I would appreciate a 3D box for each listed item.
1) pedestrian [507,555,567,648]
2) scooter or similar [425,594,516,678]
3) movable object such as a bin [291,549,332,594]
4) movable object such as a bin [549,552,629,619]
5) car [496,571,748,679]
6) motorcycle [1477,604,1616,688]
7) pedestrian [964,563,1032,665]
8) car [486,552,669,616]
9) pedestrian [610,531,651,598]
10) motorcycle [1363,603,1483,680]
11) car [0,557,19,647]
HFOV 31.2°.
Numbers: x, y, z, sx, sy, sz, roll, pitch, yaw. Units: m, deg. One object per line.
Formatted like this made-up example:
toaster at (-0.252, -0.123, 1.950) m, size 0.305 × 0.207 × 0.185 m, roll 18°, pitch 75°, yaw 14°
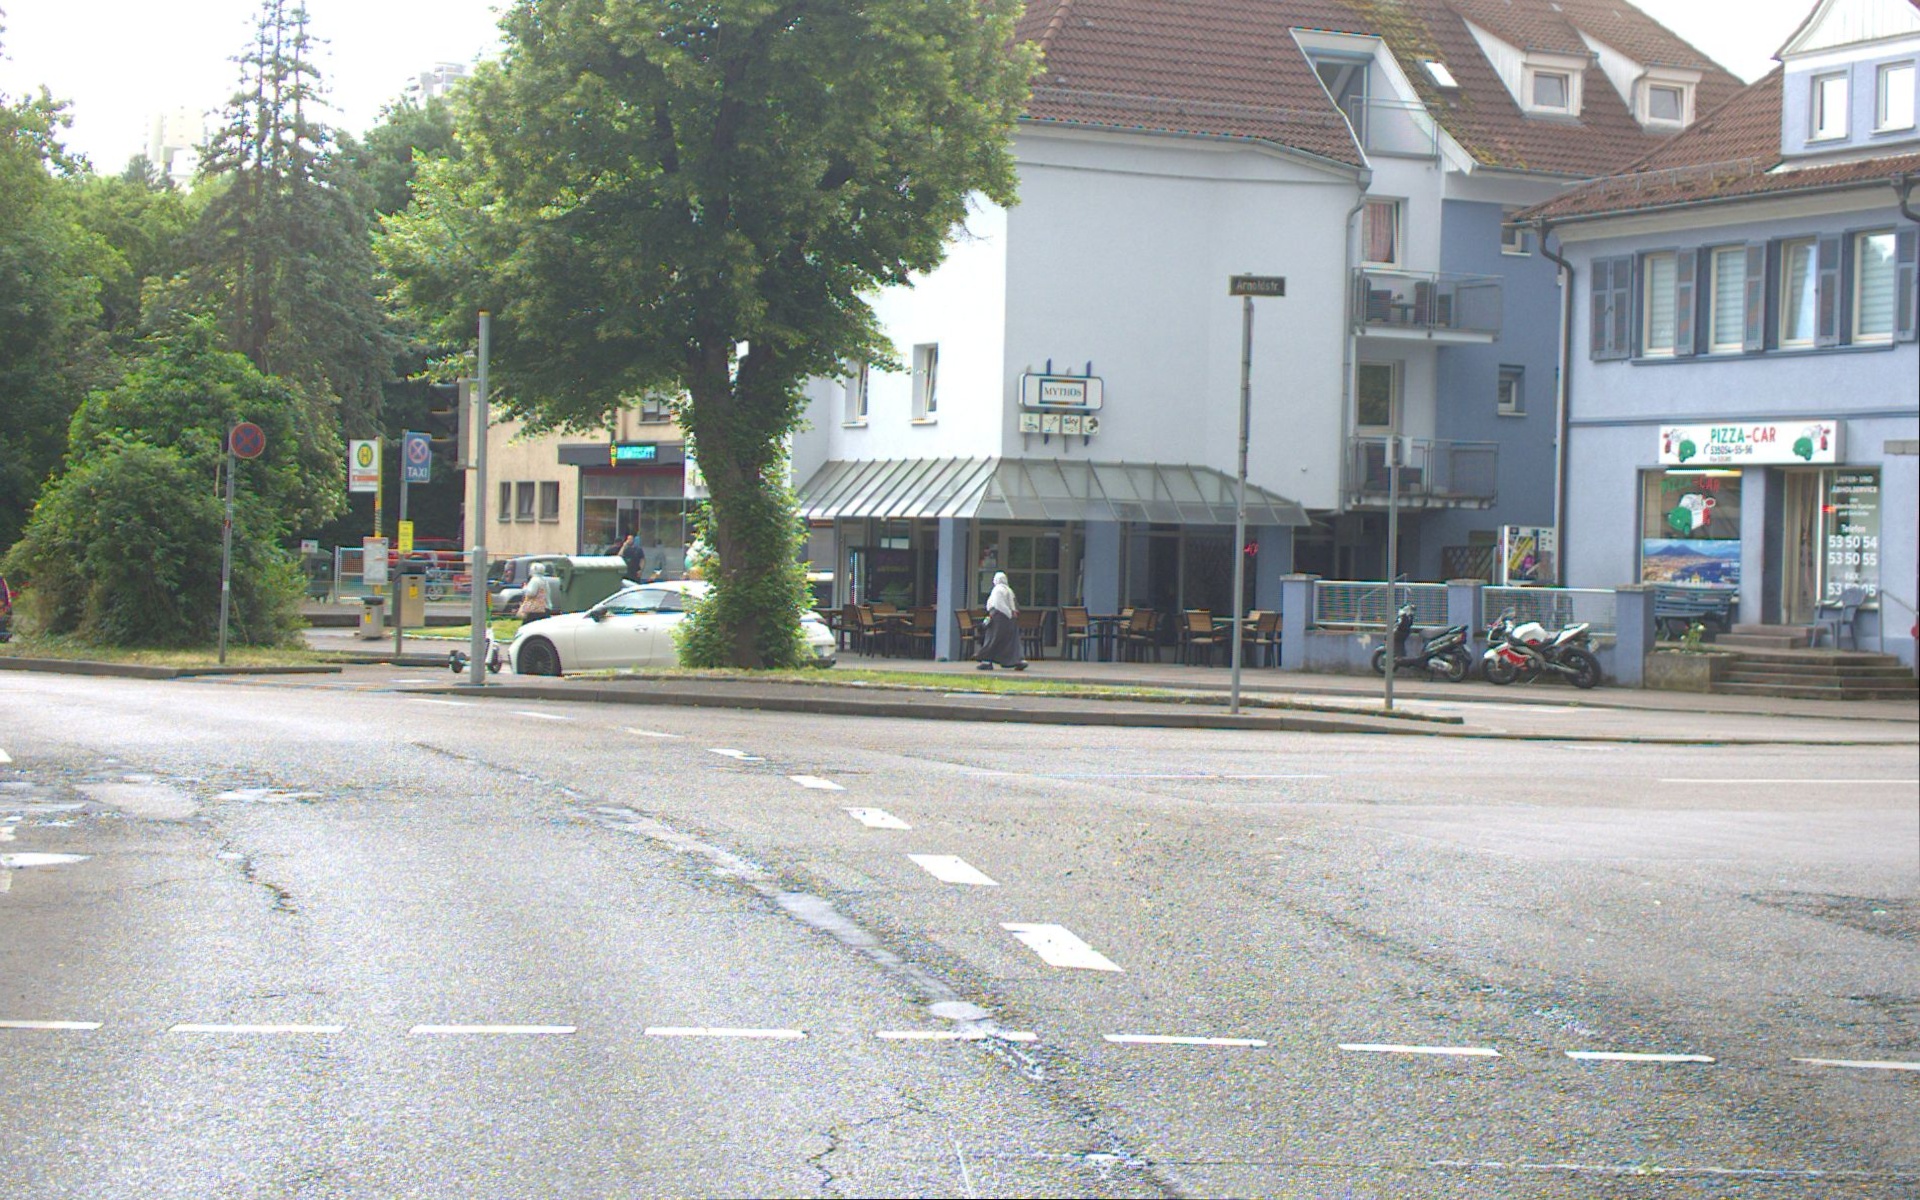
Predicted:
pedestrian at (-7.041, 0.023, 57.232) m, size 0.707 × 1.539 × 0.677 m, roll 2°, pitch 1°, yaw 40°
scooter or similar at (-6.065, 0.434, 42.644) m, size 0.417 × 1.008 × 1.565 m, roll 1°, pitch 1°, yaw 20°
movable object such as a bin at (-16.254, -0.725, 86.161) m, size 0.950 × 1.111 × 0.383 m, roll 1°, pitch 1°, yaw -21°
movable object such as a bin at (-7.990, -0.318, 73.969) m, size 1.440 × 1.404 × 0.967 m, roll 1°, pitch 1°, yaw -27°
car at (-4.537, 0.319, 46.037) m, size 3.171 × 1.350 × 1.436 m, roll 2°, pitch 1°, yaw 35°
motorcycle at (8.251, 0.637, 48.375) m, size 1.798 × 1.118 × 0.693 m, roll 2°, pitch 1°, yaw 38°
pedestrian at (0.581, 0.213, 52.866) m, size 0.768 × 1.539 × 0.677 m, roll 1°, pitch 1°, yaw 39°
car at (-8.432, -0.360, 75.866) m, size 3.733 × 1.340 × 1.434 m, roll 1°, pitch 1°, yaw -26°
pedestrian at (-7.703, -0.835, 80.308) m, size 0.676 × 1.539 × 0.708 m, roll 1°, pitch 1°, yaw -34°
motorcycle at (6.746, 0.599, 50.154) m, size 1.636 × 1.060 × 0.693 m, roll 2°, pitch 1°, yaw 44°
car at (-16.520, -0.009, 53.716) m, size 3.590 × 1.389 × 1.469 m, roll 2°, pitch 1°, yaw 32°
